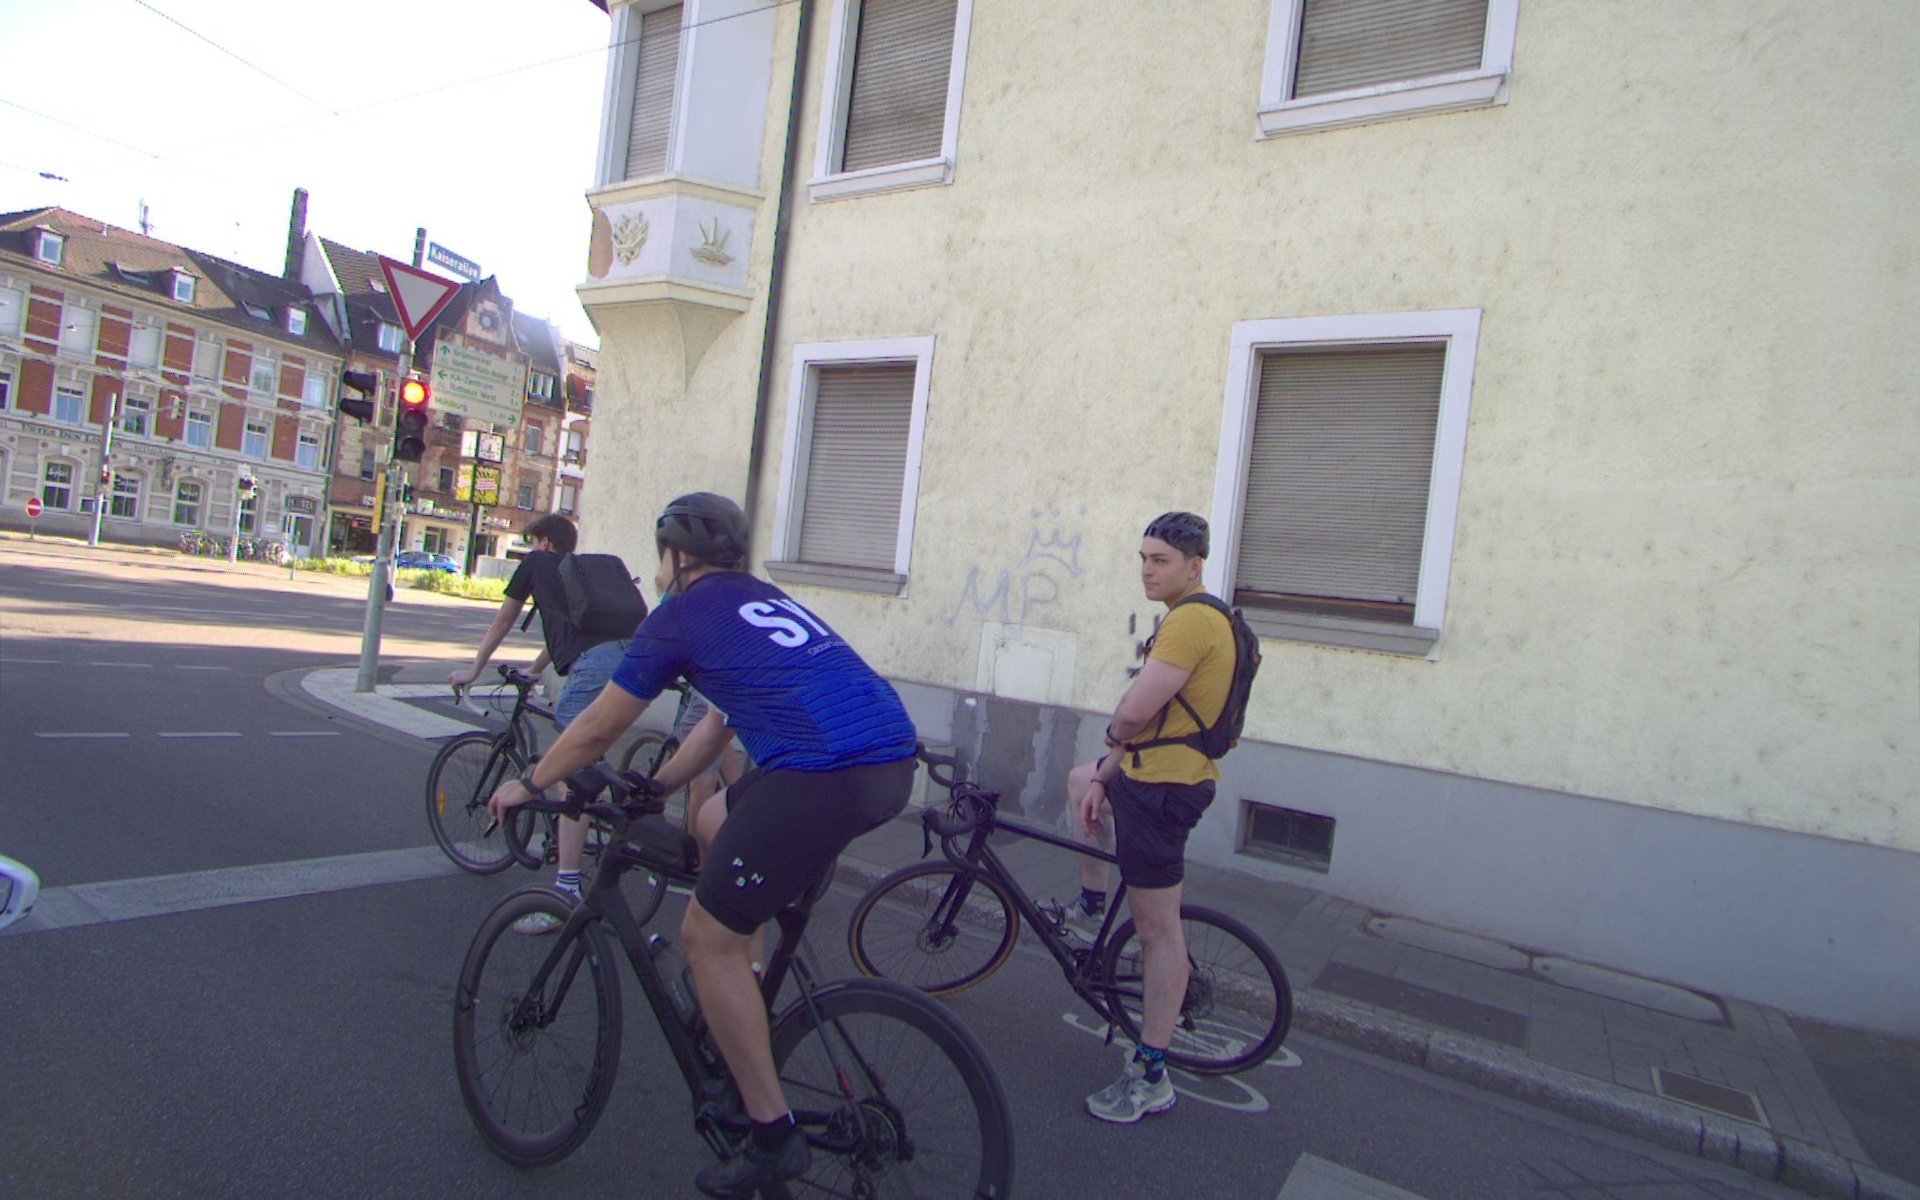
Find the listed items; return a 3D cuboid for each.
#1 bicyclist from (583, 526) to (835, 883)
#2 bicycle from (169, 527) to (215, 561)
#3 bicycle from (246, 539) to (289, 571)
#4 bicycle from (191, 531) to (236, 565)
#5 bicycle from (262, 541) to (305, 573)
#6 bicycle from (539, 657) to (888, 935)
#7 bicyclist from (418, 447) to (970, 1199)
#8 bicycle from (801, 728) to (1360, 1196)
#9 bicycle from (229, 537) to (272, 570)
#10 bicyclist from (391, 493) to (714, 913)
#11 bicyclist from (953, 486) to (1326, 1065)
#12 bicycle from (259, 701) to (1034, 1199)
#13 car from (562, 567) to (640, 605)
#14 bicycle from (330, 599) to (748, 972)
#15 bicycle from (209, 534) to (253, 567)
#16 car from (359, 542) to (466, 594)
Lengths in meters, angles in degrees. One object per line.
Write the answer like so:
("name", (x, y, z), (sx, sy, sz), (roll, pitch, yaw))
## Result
("bicyclist", (-1.311, 0.510, 5.281), (0.869, 1.652, 0.690), (6, -1, 34))
("bicycle", (-34.612, -2.534, 45.340), (2.618, 1.301, 0.693), (6, -1, 33))
("bicycle", (-33.050, -2.144, 47.994), (2.618, 1.301, 0.629), (6, -1, 33))
("bicycle", (-34.198, -2.382, 46.068), (2.618, 1.301, 0.693), (6, -1, 33))
("bicycle", (-32.680, -2.069, 48.584), (2.618, 1.301, 0.629), (6, -1, 33))
("bicycle", (-1.322, 0.940, 5.259), (1.742, 1.043, 0.650), (6, -1, 33))
("bicyclist", (-0.601, 0.488, 2.402), (0.867, 1.512, 0.641), (9, 0, 22))
("bicycle", (0.394, 1.121, 3.634), (1.751, 1.043, 0.756), (6, -2, 33))
("bicycle", (-33.416, -2.216, 47.365), (2.618, 1.301, 0.629), (6, -1, 33))
("bicyclist", (-1.810, 0.417, 4.520), (0.868, 1.625, 0.807), (7, -1, 30))
("bicyclist", (0.652, 0.526, 3.525), (0.869, 1.682, 0.807), (6, -1, 32))
("bicycle", (-0.770, 0.914, 2.448), (1.671, 1.097, 0.628), (7, -1, 22))
("car", (-23.245, -0.872, 65.288), (1.967, 1.798, 4.374), (6, -2, 31))
("bicycle", (-1.916, 0.733, 4.536), (1.674, 1.251, 0.756), (6, -1, 30))
("bicycle", (-33.832, -2.312, 46.693), (2.618, 1.301, 0.629), (6, -1, 33))
("car", (-25.462, -1.451, 46.908), (1.967, 1.798, 3.790), (6, -2, 31))
